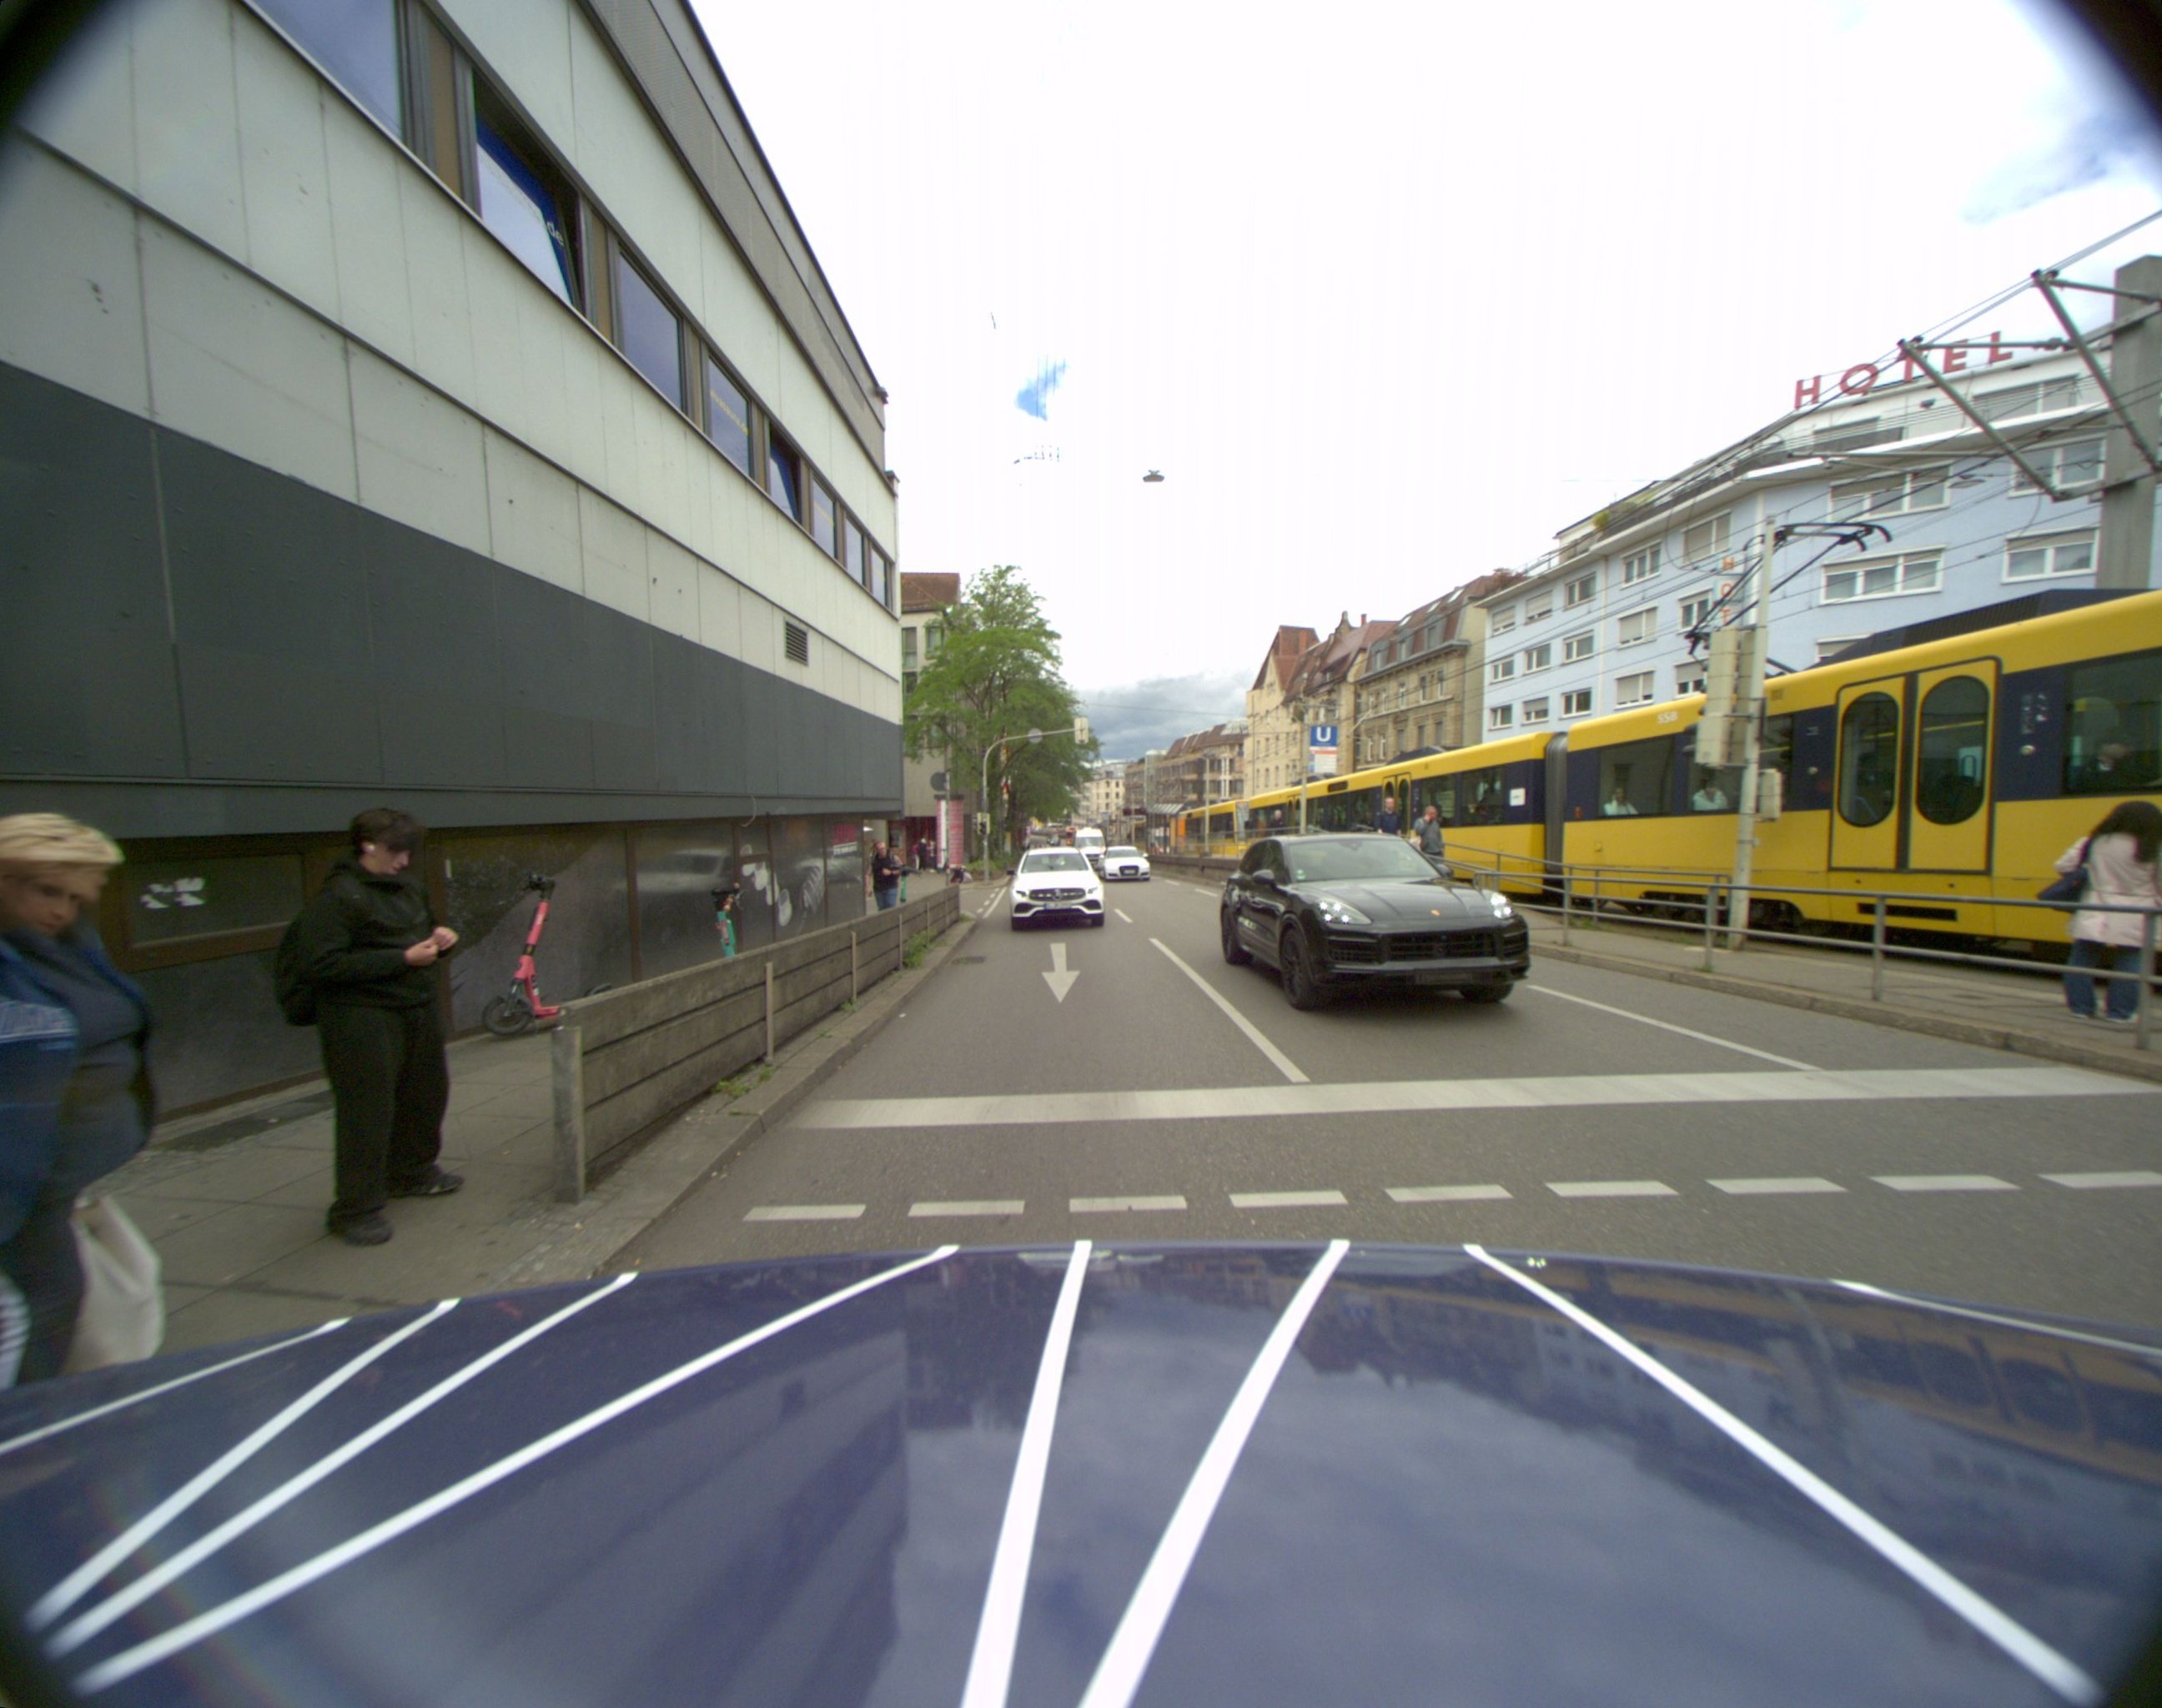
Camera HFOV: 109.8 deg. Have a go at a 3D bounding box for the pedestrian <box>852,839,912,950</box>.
[{"bbox_3d":[-3.327,0.649,12.766,0.722,1.776,0.883,-2,2,-1],"label":"pedestrian"}]

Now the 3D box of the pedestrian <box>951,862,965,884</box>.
[{"bbox_3d":[-5.341,0.811,33.002,0.485,0.905,0.583,-1,1,0],"label":"pedestrian"}]

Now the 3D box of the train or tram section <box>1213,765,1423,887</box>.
[{"bbox_3d":[8.432,-0.996,30.074,2.890,3.643,14.221,-2,1,-4],"label":"train or tram section"}]

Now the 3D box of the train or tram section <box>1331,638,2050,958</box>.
[{"bbox_3d":[9.391,-0.783,15.867,2.890,3.643,14.222,-1,1,-3],"label":"train or tram section"}]

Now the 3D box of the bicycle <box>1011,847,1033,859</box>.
[{"bbox_3d":[-5.905,-0.109,75.703,2.094,1.079,0.712,-3,2,-10],"label":"bicycle"}]

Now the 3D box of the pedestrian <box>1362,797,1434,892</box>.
[{"bbox_3d":[6.711,-0.234,16.172,0.932,1.959,1.232,0,4,-3],"label":"pedestrian"}]

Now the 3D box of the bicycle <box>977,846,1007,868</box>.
[{"bbox_3d":[-5.198,0.163,44.297,1.692,1.215,0.541,-1,2,-7],"label":"bicycle"}]

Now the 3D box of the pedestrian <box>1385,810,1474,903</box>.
[{"bbox_3d":[6.640,0.020,14.533,1.120,1.672,1.040,0,6,-3],"label":"pedestrian"}]

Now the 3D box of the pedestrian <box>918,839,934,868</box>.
[{"bbox_3d":[-8.304,-0.034,40.634,0.625,1.514,0.664,-2,2,3],"label":"pedestrian"}]

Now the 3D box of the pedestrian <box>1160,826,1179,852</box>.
[{"bbox_3d":[4.536,-0.783,38.839,0.852,1.299,0.778,1,2,-2],"label":"pedestrian"}]

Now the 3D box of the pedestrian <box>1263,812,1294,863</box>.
[{"bbox_3d":[6.138,-0.510,23.650,0.780,1.575,0.665,0,2,-3],"label":"pedestrian"}]

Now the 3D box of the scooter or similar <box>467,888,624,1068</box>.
[{"bbox_3d":[-4.247,0.936,6.091,0.428,1.269,0.981,0,1,11],"label":"scooter or similar"}]

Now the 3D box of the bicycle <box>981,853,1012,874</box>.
[{"bbox_3d":[-4.855,0.538,43.425,1.746,1.215,0.541,0,1,-7],"label":"bicycle"}]

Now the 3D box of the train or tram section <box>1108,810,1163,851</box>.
[{"bbox_3d":[4.954,-2.167,72.383,2.890,3.400,14.221,-3,1,-5],"label":"train or tram section"}]

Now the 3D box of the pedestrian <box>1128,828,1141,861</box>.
[{"bbox_3d":[3.713,-0.681,52.956,0.838,2.272,0.772,0,2,-3],"label":"pedestrian"}]

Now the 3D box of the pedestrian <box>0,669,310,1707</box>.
[{"bbox_3d":[-2.477,0.654,1.540,0.949,2.051,0.778,4,2,1],"label":"pedestrian"}]

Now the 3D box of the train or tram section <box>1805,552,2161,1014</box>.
[{"bbox_3d":[10.277,-0.486,1.611,2.890,3.643,14.467,-1,1,-4],"label":"train or tram section"}]

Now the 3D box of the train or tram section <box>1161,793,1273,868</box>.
[{"bbox_3d":[7.404,-1.379,44.249,2.931,3.539,14.219,-2,2,-4],"label":"train or tram section"}]

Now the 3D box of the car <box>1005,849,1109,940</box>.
[{"bbox_3d":[-0.555,0.757,16.814,1.935,1.622,4.771,-1,1,-3],"label":"car"}]

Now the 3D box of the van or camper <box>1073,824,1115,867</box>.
[{"bbox_3d":[0.761,-0.587,49.498,2.209,2.544,6.370,-2,1,-3],"label":"van or camper"}]

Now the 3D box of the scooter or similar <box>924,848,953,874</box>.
[{"bbox_3d":[-7.216,0.327,38.407,1.387,1.247,0.632,2,3,32],"label":"scooter or similar"}]

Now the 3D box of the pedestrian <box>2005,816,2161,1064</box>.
[{"bbox_3d":[7.363,0.554,5.256,0.677,1.616,1.000,0,2,-4],"label":"pedestrian"}]

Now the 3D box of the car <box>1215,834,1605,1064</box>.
[{"bbox_3d":[2.899,0.670,8.088,2.033,1.675,4.780,-1,1,-1],"label":"car"}]

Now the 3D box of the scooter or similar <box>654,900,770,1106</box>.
[{"bbox_3d":[-2.541,0.983,5.296,0.354,1.268,0.813,3,0,-1],"label":"scooter or similar"}]

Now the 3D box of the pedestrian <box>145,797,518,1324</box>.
[{"bbox_3d":[-2.832,0.712,2.945,0.739,1.783,0.655,4,2,1],"label":"pedestrian"}]

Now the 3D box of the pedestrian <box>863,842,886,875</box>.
[{"bbox_3d":[-11.659,0.258,42.849,0.901,1.823,0.737,-1,1,25],"label":"pedestrian"}]

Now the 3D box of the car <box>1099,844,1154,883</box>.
[{"bbox_3d":[1.870,0.356,32.642,1.897,1.467,4.529,-1,1,-3],"label":"car"}]

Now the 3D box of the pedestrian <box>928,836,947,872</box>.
[{"bbox_3d":[-7.693,-0.005,40.760,0.706,1.879,0.880,-2,2,3],"label":"pedestrian"}]

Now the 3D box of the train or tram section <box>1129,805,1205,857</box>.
[{"bbox_3d":[6.249,-1.661,58.295,2.890,3.422,14.221,-3,1,-5],"label":"train or tram section"}]
